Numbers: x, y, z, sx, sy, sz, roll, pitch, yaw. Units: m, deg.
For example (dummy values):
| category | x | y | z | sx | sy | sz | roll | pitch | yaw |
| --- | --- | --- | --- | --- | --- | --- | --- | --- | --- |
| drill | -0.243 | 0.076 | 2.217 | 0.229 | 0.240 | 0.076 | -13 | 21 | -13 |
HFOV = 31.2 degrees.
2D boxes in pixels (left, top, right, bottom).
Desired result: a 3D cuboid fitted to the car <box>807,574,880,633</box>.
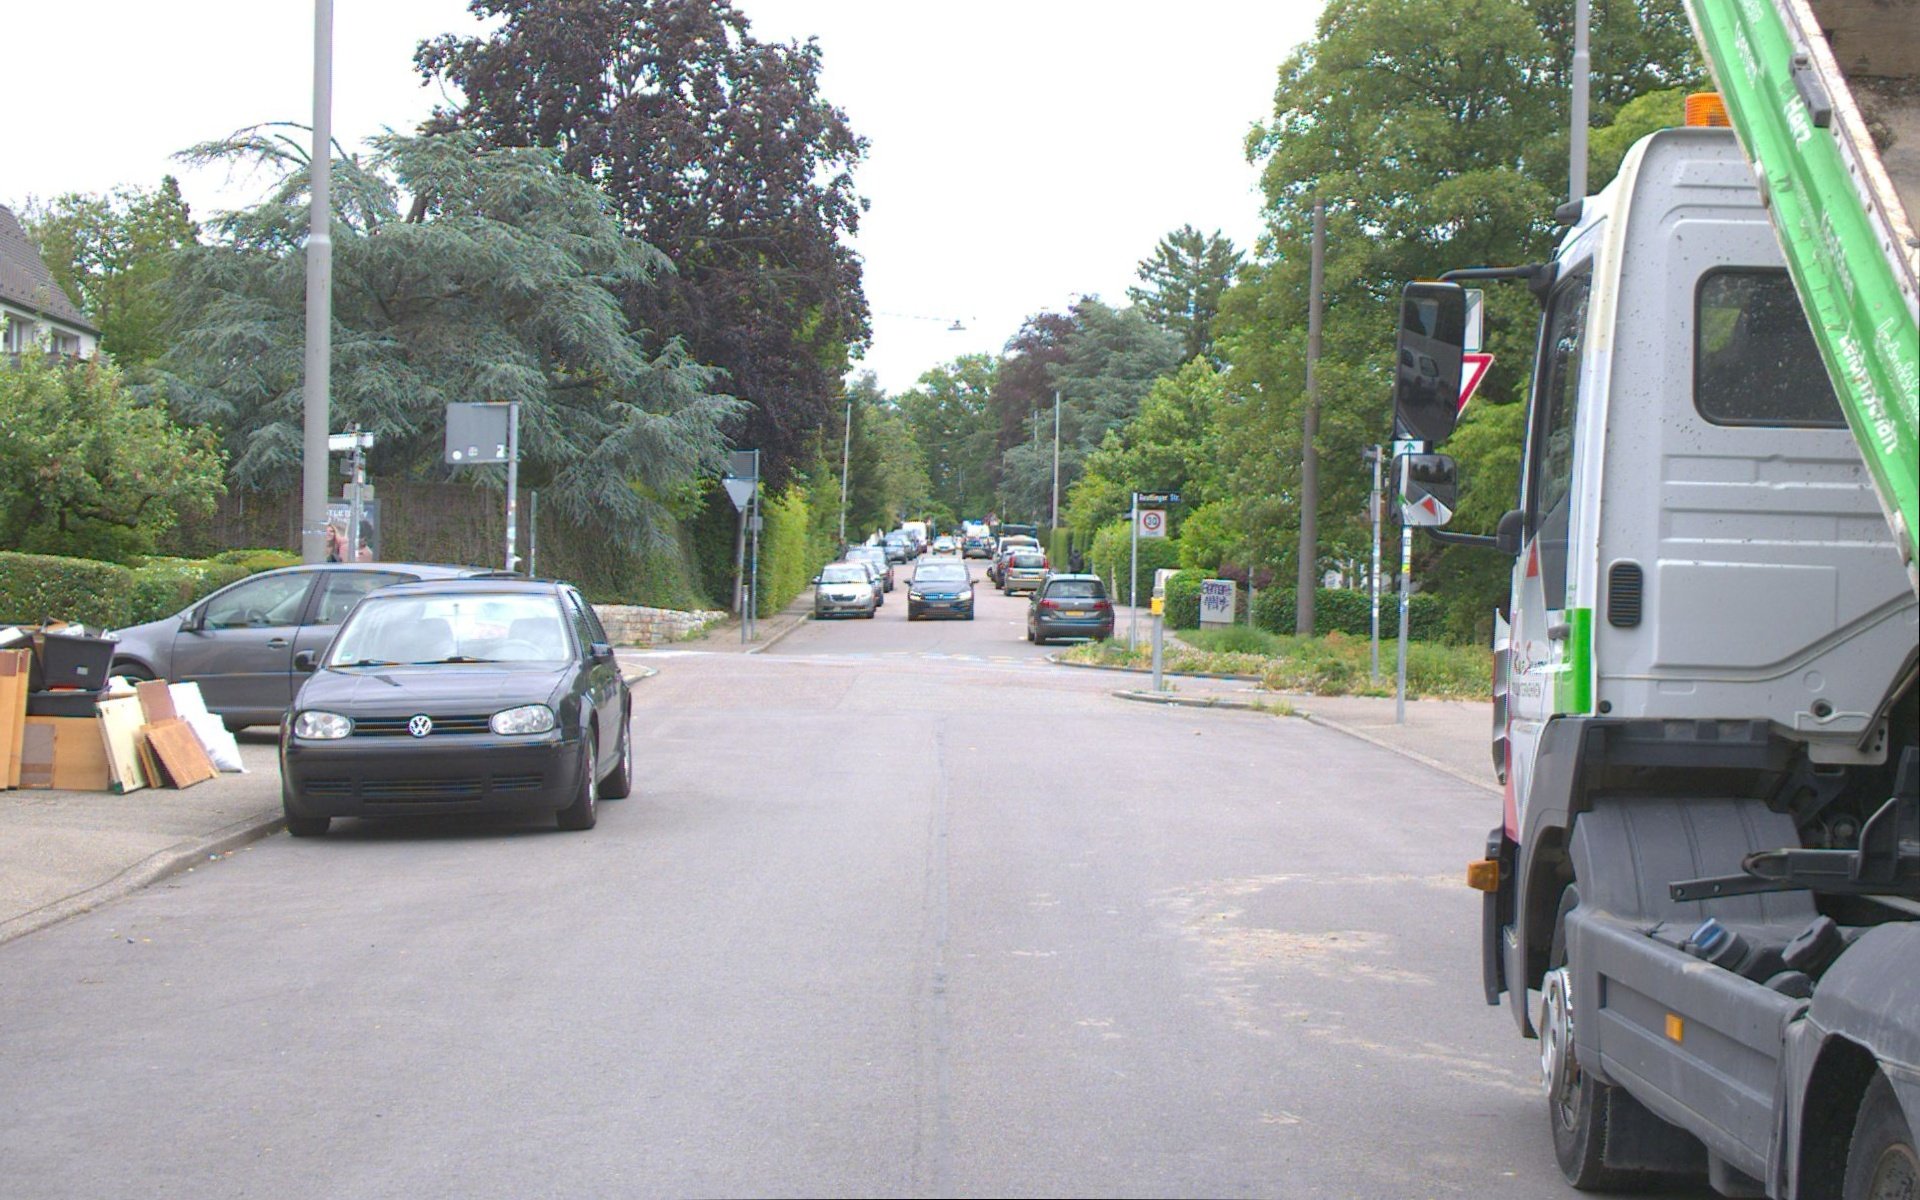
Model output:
| category | x | y | z | sx | sy | sz | roll | pitch | yaw |
| --- | --- | --- | --- | --- | --- | --- | --- | --- | --- |
| car | -3.262 | 0.085 | 96.794 | 1.711 | 1.580 | 4.000 | 1 | 1 | 3 |

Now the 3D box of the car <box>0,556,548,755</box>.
| category | x | y | z | sx | sy | sz | roll | pitch | yaw |
| --- | --- | --- | --- | --- | --- | --- | --- | --- | --- |
| car | -5.529 | 0.405 | 27.624 | 3.990 | 1.439 | 1.825 | 1 | 1 | 16 |

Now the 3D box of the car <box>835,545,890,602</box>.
| category | x | y | z | sx | sy | sz | roll | pitch | yaw |
| --- | --- | --- | --- | --- | --- | --- | --- | --- | --- |
| car | -3.033 | -0.847 | 107.342 | 1.634 | 1.695 | 3.763 | 1 | 1 | -1 |

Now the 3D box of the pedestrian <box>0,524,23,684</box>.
| category | x | y | z | sx | sy | sz | roll | pitch | yaw |
| --- | --- | --- | --- | --- | --- | --- | --- | --- | --- |
| pedestrian | -7.809 | 0.022 | 26.287 | 0.946 | 1.221 | 0.836 | 1 | 0 | -42 |

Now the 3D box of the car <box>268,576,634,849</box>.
| category | x | y | z | sx | sy | sz | roll | pitch | yaw |
| --- | --- | --- | --- | --- | --- | --- | --- | --- | --- |
| car | -2.901 | 0.587 | 20.327 | 1.637 | 1.390 | 3.989 | -1 | 1 | -1 |

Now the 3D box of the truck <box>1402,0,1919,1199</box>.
| category | x | y | z | sx | sy | sz | roll | pitch | yaw |
| --- | --- | --- | --- | --- | --- | --- | --- | --- | --- |
| truck | 2.618 | -0.860 | 6.632 | 2.524 | 4.732 | 7.187 | 2 | 1 | 1 |

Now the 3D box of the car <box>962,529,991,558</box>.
| category | x | y | z | sx | sy | sz | roll | pitch | yaw |
| --- | --- | --- | --- | --- | --- | --- | --- | --- | --- |
| car | 0.981 | -3.406 | 207.415 | 1.634 | 1.695 | 3.494 | 1 | 1 | -1 |

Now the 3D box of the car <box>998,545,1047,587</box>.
| category | x | y | z | sx | sy | sz | roll | pitch | yaw |
| --- | --- | --- | --- | --- | --- | --- | --- | --- | --- |
| car | 2.373 | -1.274 | 129.229 | 1.789 | 1.524 | 3.734 | 1 | 1 | 1 |

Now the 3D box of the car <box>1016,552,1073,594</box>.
| category | x | y | z | sx | sy | sz | roll | pitch | yaw |
| --- | --- | --- | --- | --- | --- | --- | --- | --- | --- |
| car | 2.949 | -0.950 | 120.346 | 1.810 | 1.331 | 3.633 | 2 | 2 | -1 |

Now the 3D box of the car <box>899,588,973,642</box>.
| category | x | y | z | sx | sy | sz | roll | pitch | yaw |
| --- | --- | --- | --- | --- | --- | --- | --- | --- | --- |
| car | -0.646 | 0.398 | 94.350 | 1.728 | 1.402 | 3.803 | 1 | 0 | 4 |

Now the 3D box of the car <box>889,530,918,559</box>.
| category | x | y | z | sx | sy | sz | roll | pitch | yaw |
| --- | --- | --- | --- | --- | --- | --- | --- | --- | --- |
| car | -3.805 | -3.745 | 232.266 | 1.817 | 1.875 | 4.000 | 3 | 1 | -1 |

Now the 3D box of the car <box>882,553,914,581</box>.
| category | x | y | z | sx | sy | sz | roll | pitch | yaw |
| --- | --- | --- | --- | --- | --- | --- | --- | --- | --- |
| car | -3.348 | -1.778 | 185.219 | 1.626 | 1.381 | 3.598 | 3 | 1 | -1 |

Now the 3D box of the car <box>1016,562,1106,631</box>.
| category | x | y | z | sx | sy | sz | roll | pitch | yaw |
| --- | --- | --- | --- | --- | --- | --- | --- | --- | --- |
| car | 2.230 | -0.090 | 76.792 | 1.778 | 1.484 | 4.000 | 1 | 1 | -1 |
